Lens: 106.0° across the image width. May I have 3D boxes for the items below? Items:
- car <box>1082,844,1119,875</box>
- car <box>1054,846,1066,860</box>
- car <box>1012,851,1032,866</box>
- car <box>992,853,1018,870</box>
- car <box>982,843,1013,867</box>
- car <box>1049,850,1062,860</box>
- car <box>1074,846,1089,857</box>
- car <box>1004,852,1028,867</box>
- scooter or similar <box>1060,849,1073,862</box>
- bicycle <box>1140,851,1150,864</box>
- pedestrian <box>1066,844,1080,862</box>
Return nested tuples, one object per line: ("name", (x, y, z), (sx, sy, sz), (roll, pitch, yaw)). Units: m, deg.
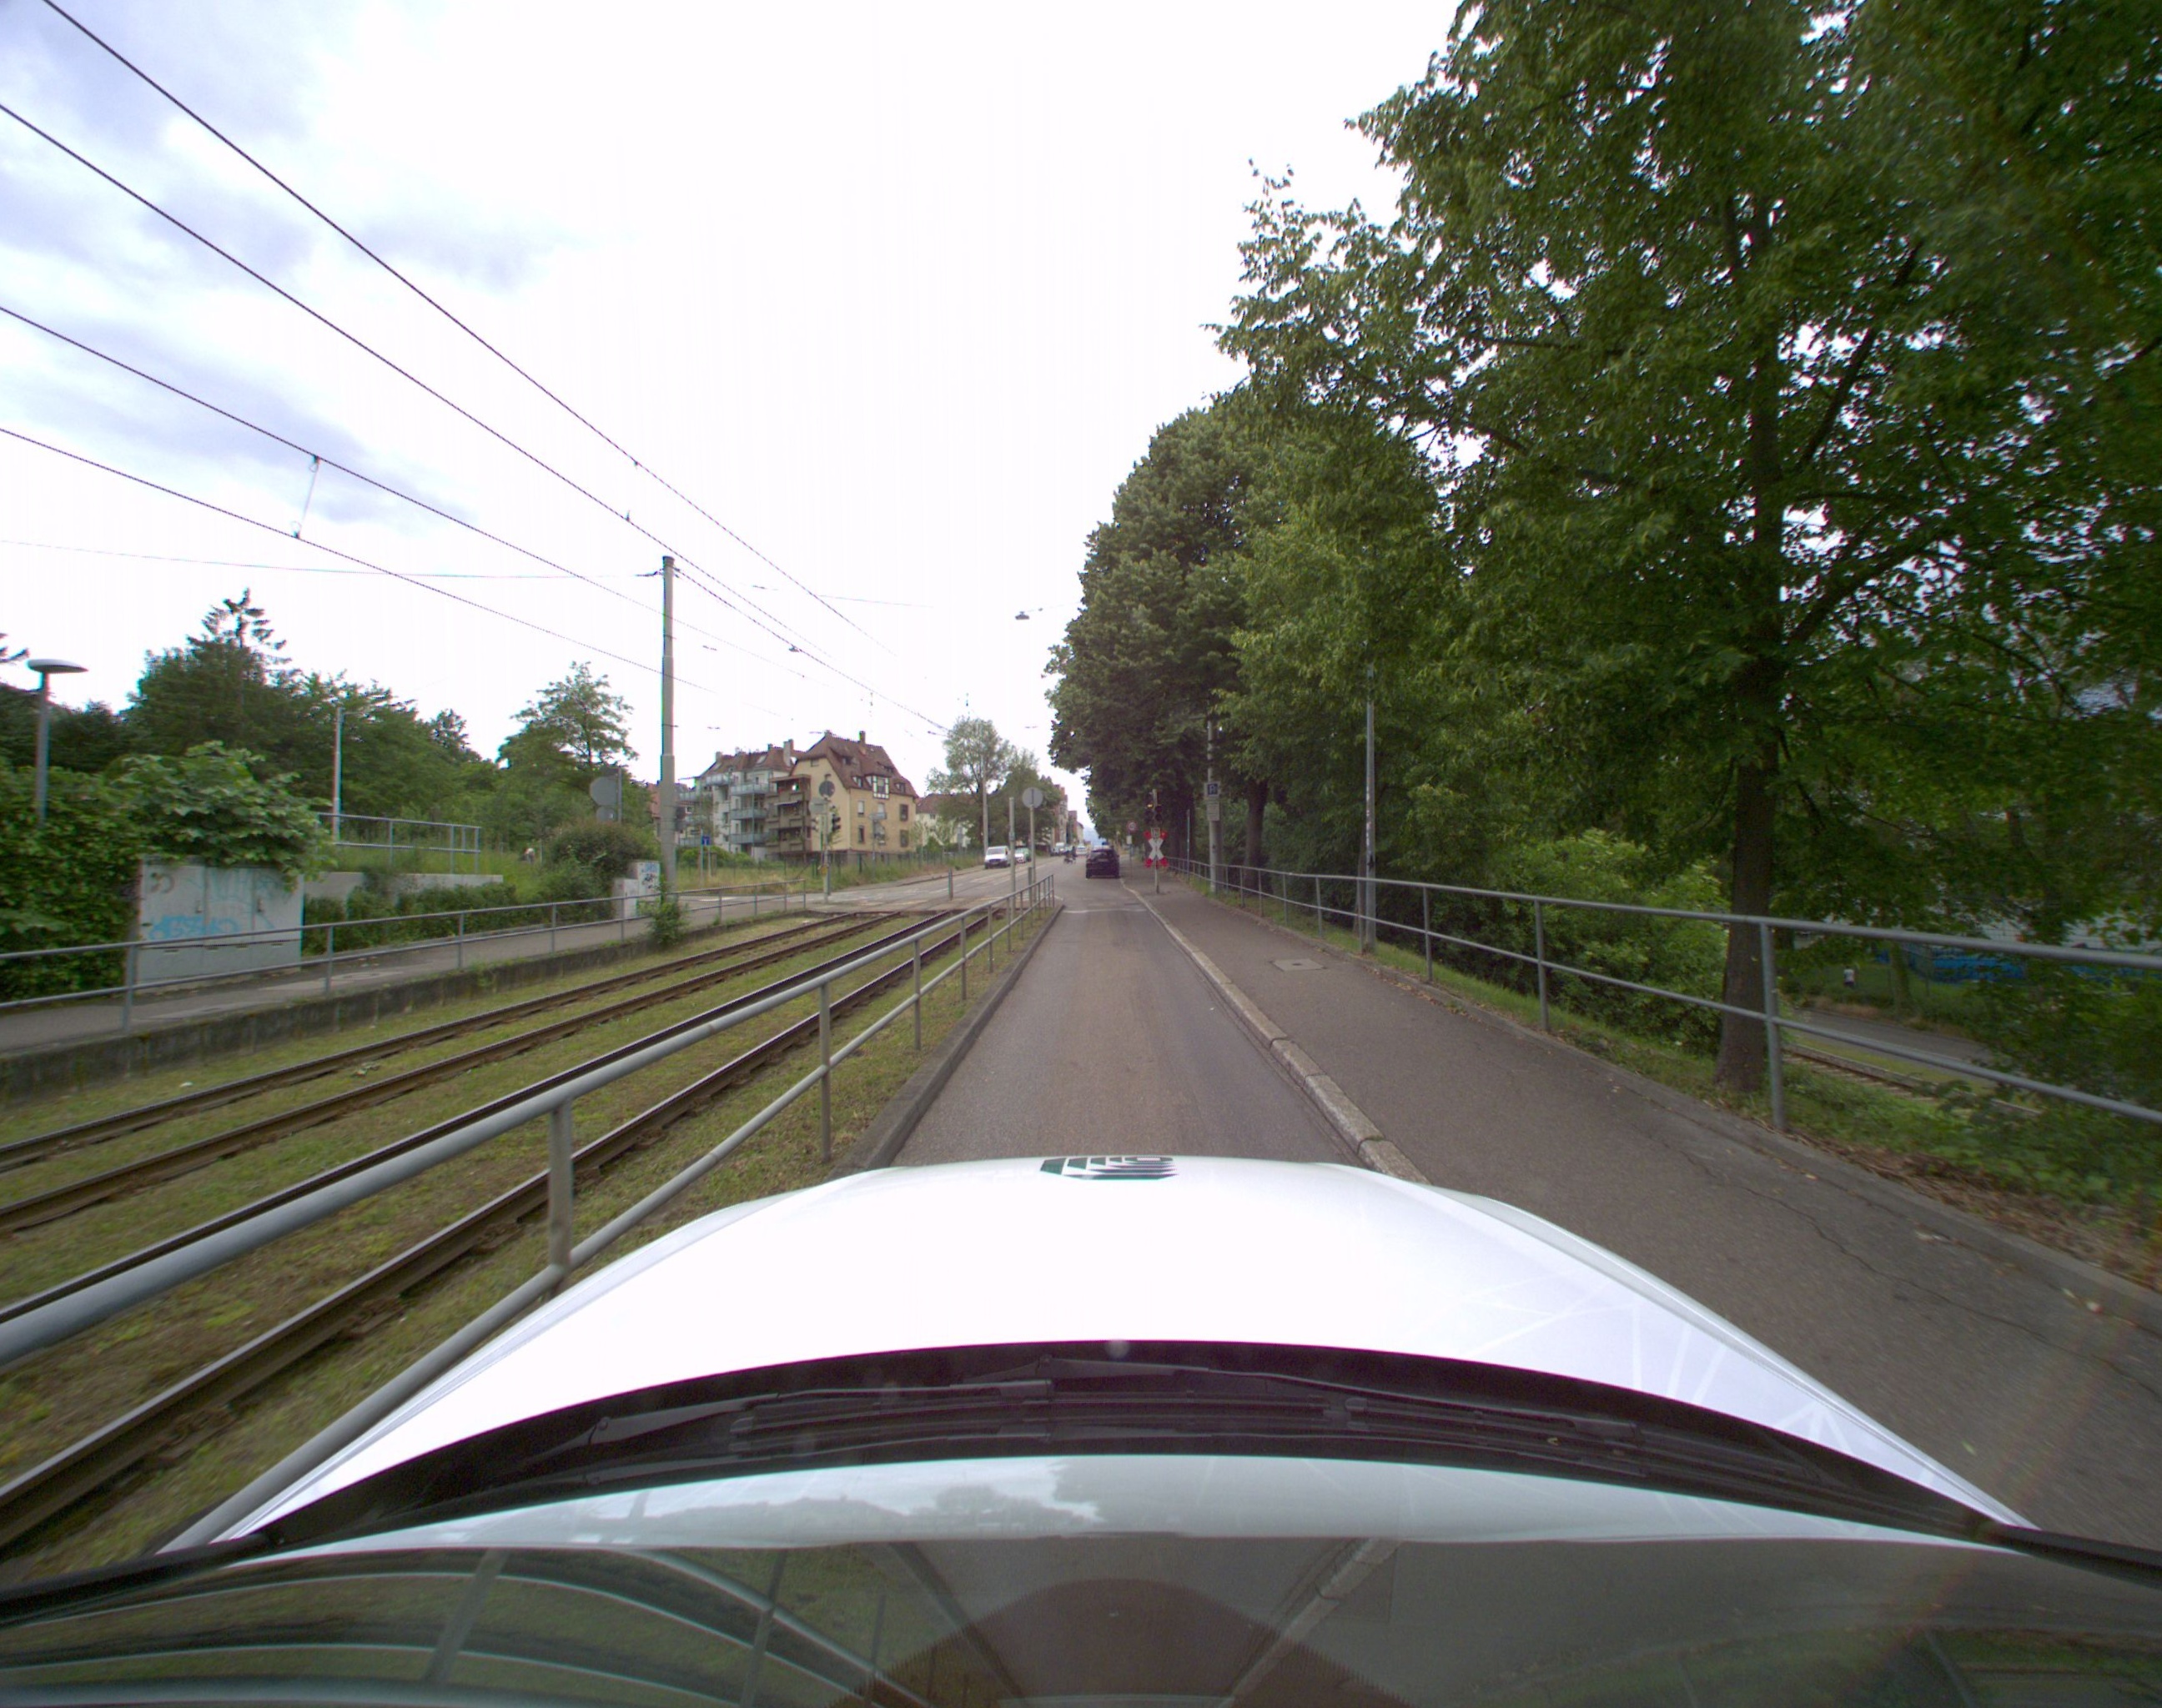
("car", (1.154, 0.296, 45.121), (1.896, 1.615, 4.604), (0, 0, 3))
("car", (-4.304, -0.118, 166.051), (2.223, 2.764, 5.798), (-1, -1, 0))
("car", (-6.533, 0.459, 91.150), (1.716, 1.579, 4.183), (-3, 0, 2))
("car", (-7.155, 0.715, 77.012), (1.889, 1.432, 4.513), (-3, 0, 2))
("car", (-7.285, 0.129, 71.248), (2.029, 1.881, 4.885), (-4, -1, 0))
("car", (-4.695, 0.246, 151.557), (1.985, 1.808, 4.003), (-1, -1, 3))
("car", (0.091, -0.340, 112.846), (1.986, 1.498, 4.313), (-1, -1, 1))
("car", (-6.786, 0.561, 85.299), (1.878, 1.526, 4.665), (-3, 0, 2))
("scooter or similar", (-1.353, 0.170, 74.901), (0.828, 1.196, 0.812), (-2, -1, 43))
("bicycle", (5.000, 0.259, 63.791), (0.427, 0.976, 1.790), (-1, -1, -8))
("pedestrian", (-0.744, -0.077, 74.333), (0.905, 1.628, 0.812), (-2, -1, 43))
